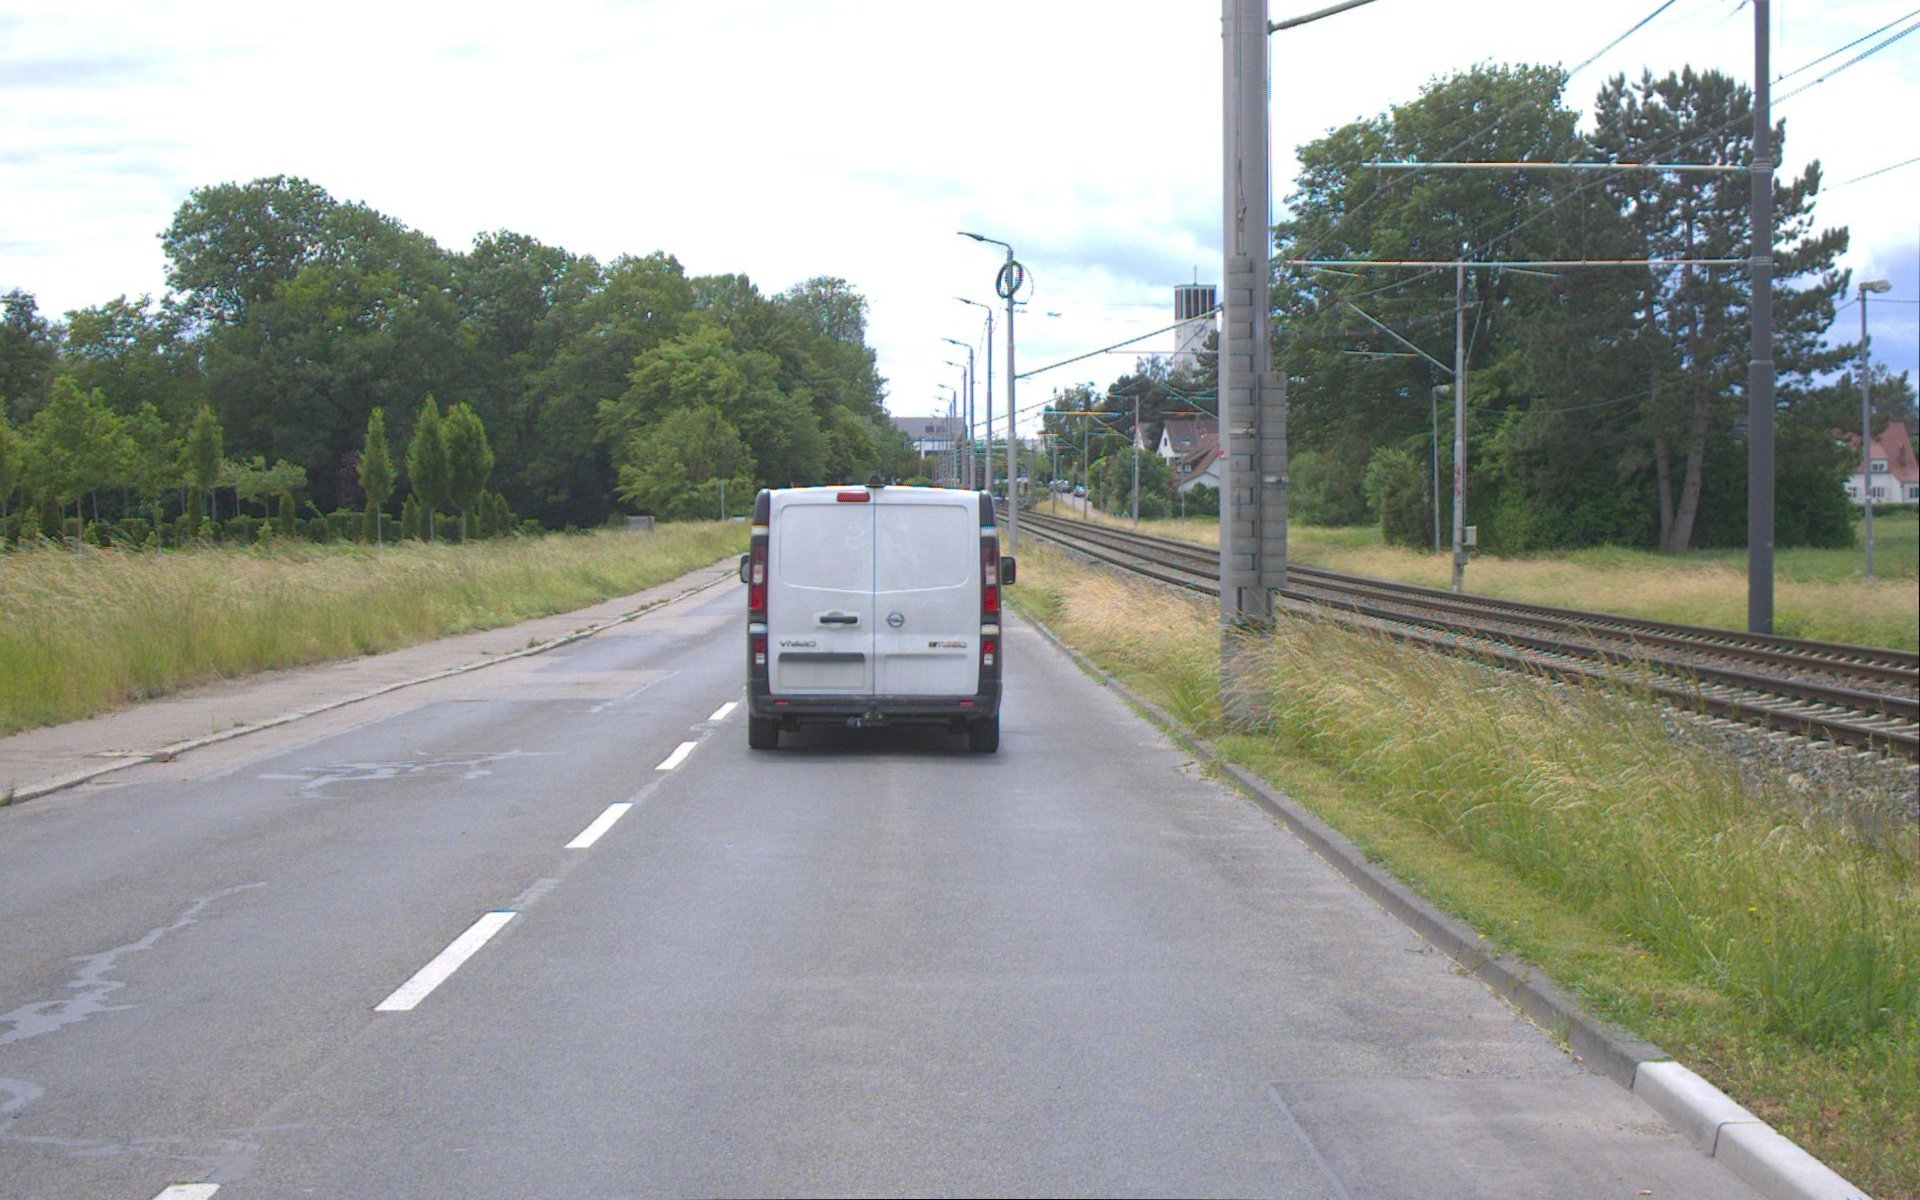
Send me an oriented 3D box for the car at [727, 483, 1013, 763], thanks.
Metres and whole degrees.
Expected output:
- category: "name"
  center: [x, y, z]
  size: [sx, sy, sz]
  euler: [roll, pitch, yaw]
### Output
- category: "car"
  center: [-0.694, 0.127, 26.163]
  size: [1.993, 1.950, 4.000]
  euler: [1, 1, -2]
